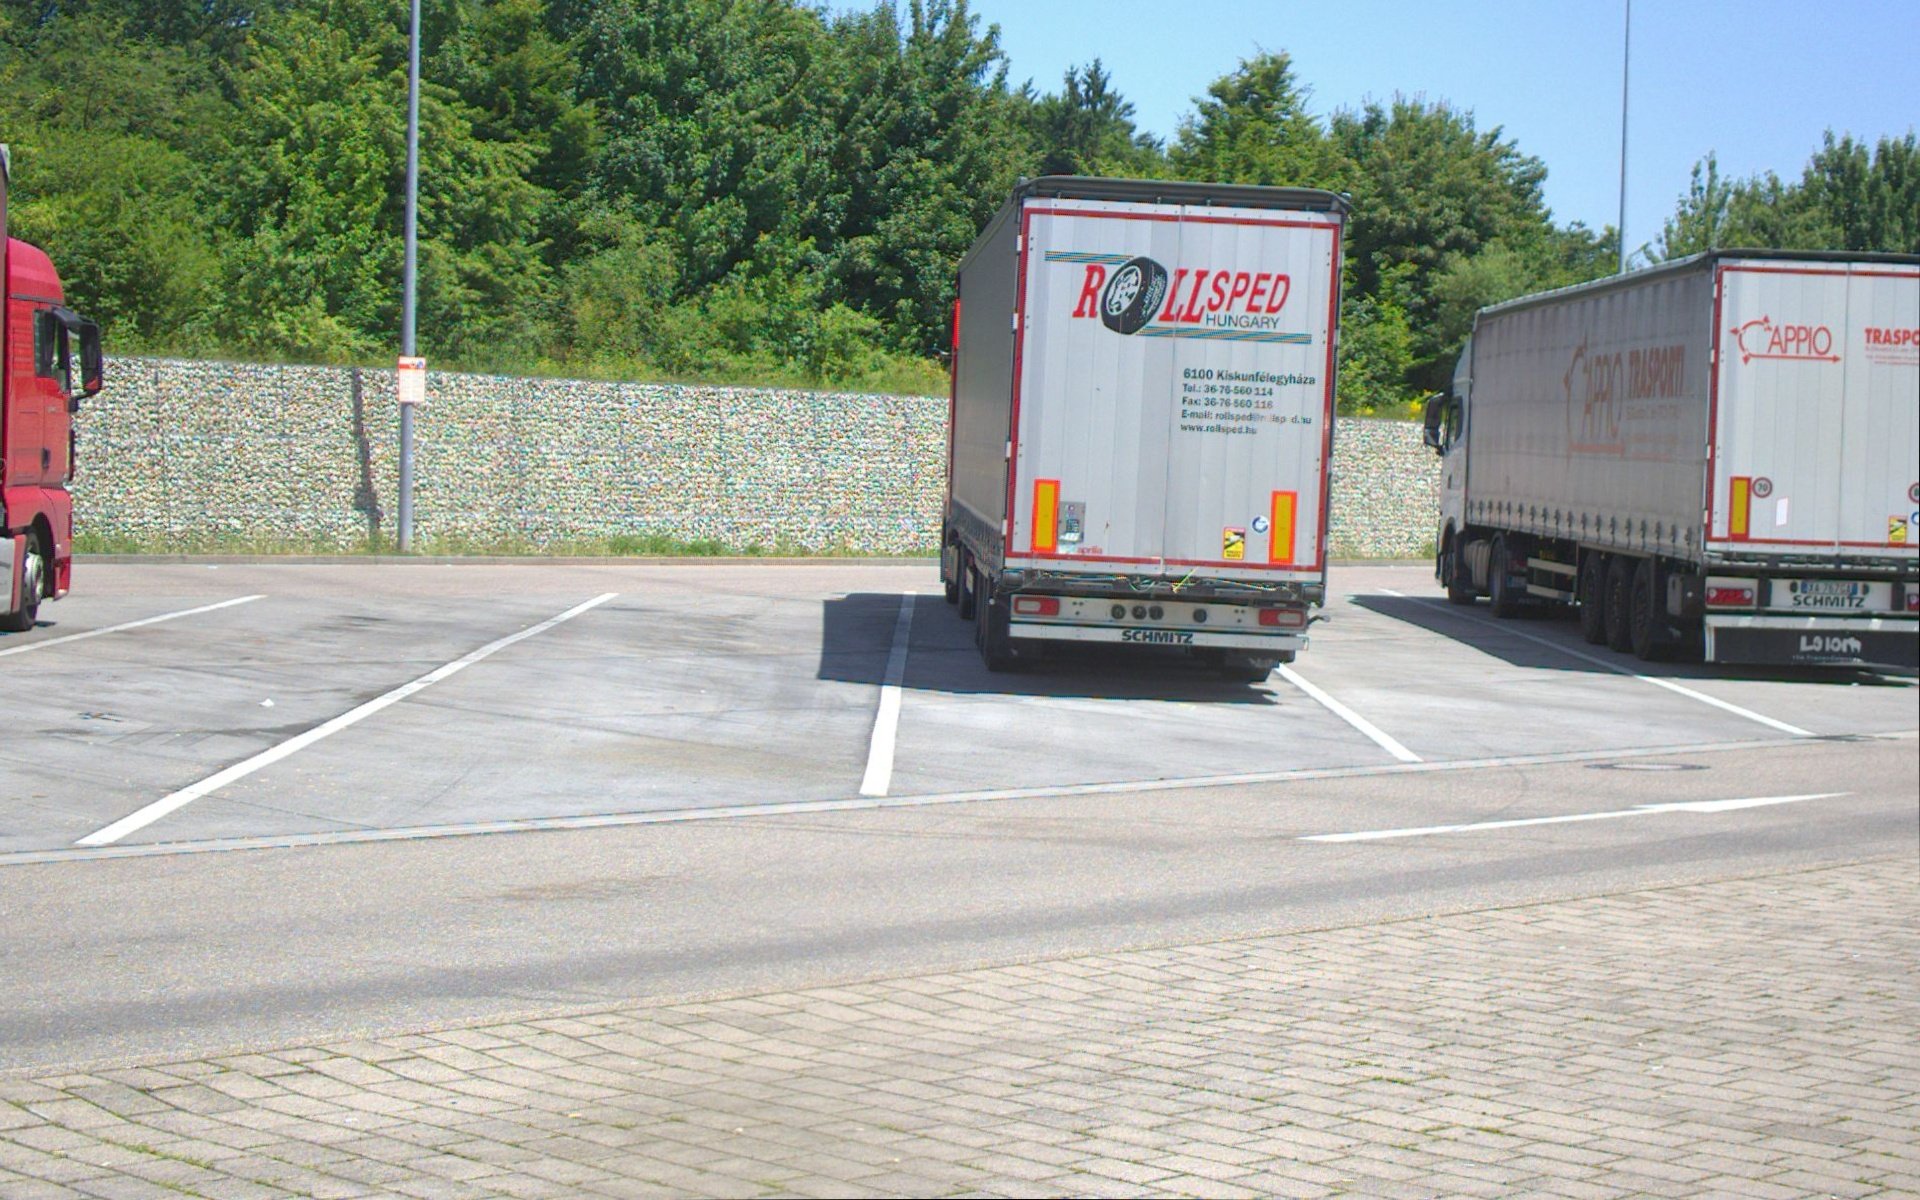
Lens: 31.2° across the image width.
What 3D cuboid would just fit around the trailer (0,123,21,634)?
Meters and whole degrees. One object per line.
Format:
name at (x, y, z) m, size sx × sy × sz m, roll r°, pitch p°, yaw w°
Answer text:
trailer at (-9.143, -1.494, 21.308) m, size 2.906 × 4.118 × 13.725 m, roll 2°, pitch 3°, yaw -1°

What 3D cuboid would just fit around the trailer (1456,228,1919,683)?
trailer at (8.160, -1.625, 38.694) m, size 2.838 × 4.118 × 13.724 m, roll 2°, pitch 3°, yaw -1°

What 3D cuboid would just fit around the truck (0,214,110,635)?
truck at (-9.233, -1.509, 28.747) m, size 2.852 × 3.416 × 5.483 m, roll 2°, pitch 2°, yaw -1°

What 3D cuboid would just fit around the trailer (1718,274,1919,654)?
trailer at (11.797, -1.527, 39.447) m, size 2.838 × 4.118 × 13.724 m, roll 2°, pitch 3°, yaw -1°

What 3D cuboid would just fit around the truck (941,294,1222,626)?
truck at (1.294, -1.629, 39.817) m, size 2.852 × 3.472 × 5.483 m, roll 2°, pitch 2°, yaw -1°

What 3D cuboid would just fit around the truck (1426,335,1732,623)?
truck at (8.067, -1.623, 45.507) m, size 2.852 × 3.472 × 5.483 m, roll 2°, pitch 2°, yaw -1°

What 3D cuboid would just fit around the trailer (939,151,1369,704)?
trailer at (1.443, -1.622, 33.204) m, size 2.906 × 4.118 × 13.725 m, roll 2°, pitch 3°, yaw -1°
